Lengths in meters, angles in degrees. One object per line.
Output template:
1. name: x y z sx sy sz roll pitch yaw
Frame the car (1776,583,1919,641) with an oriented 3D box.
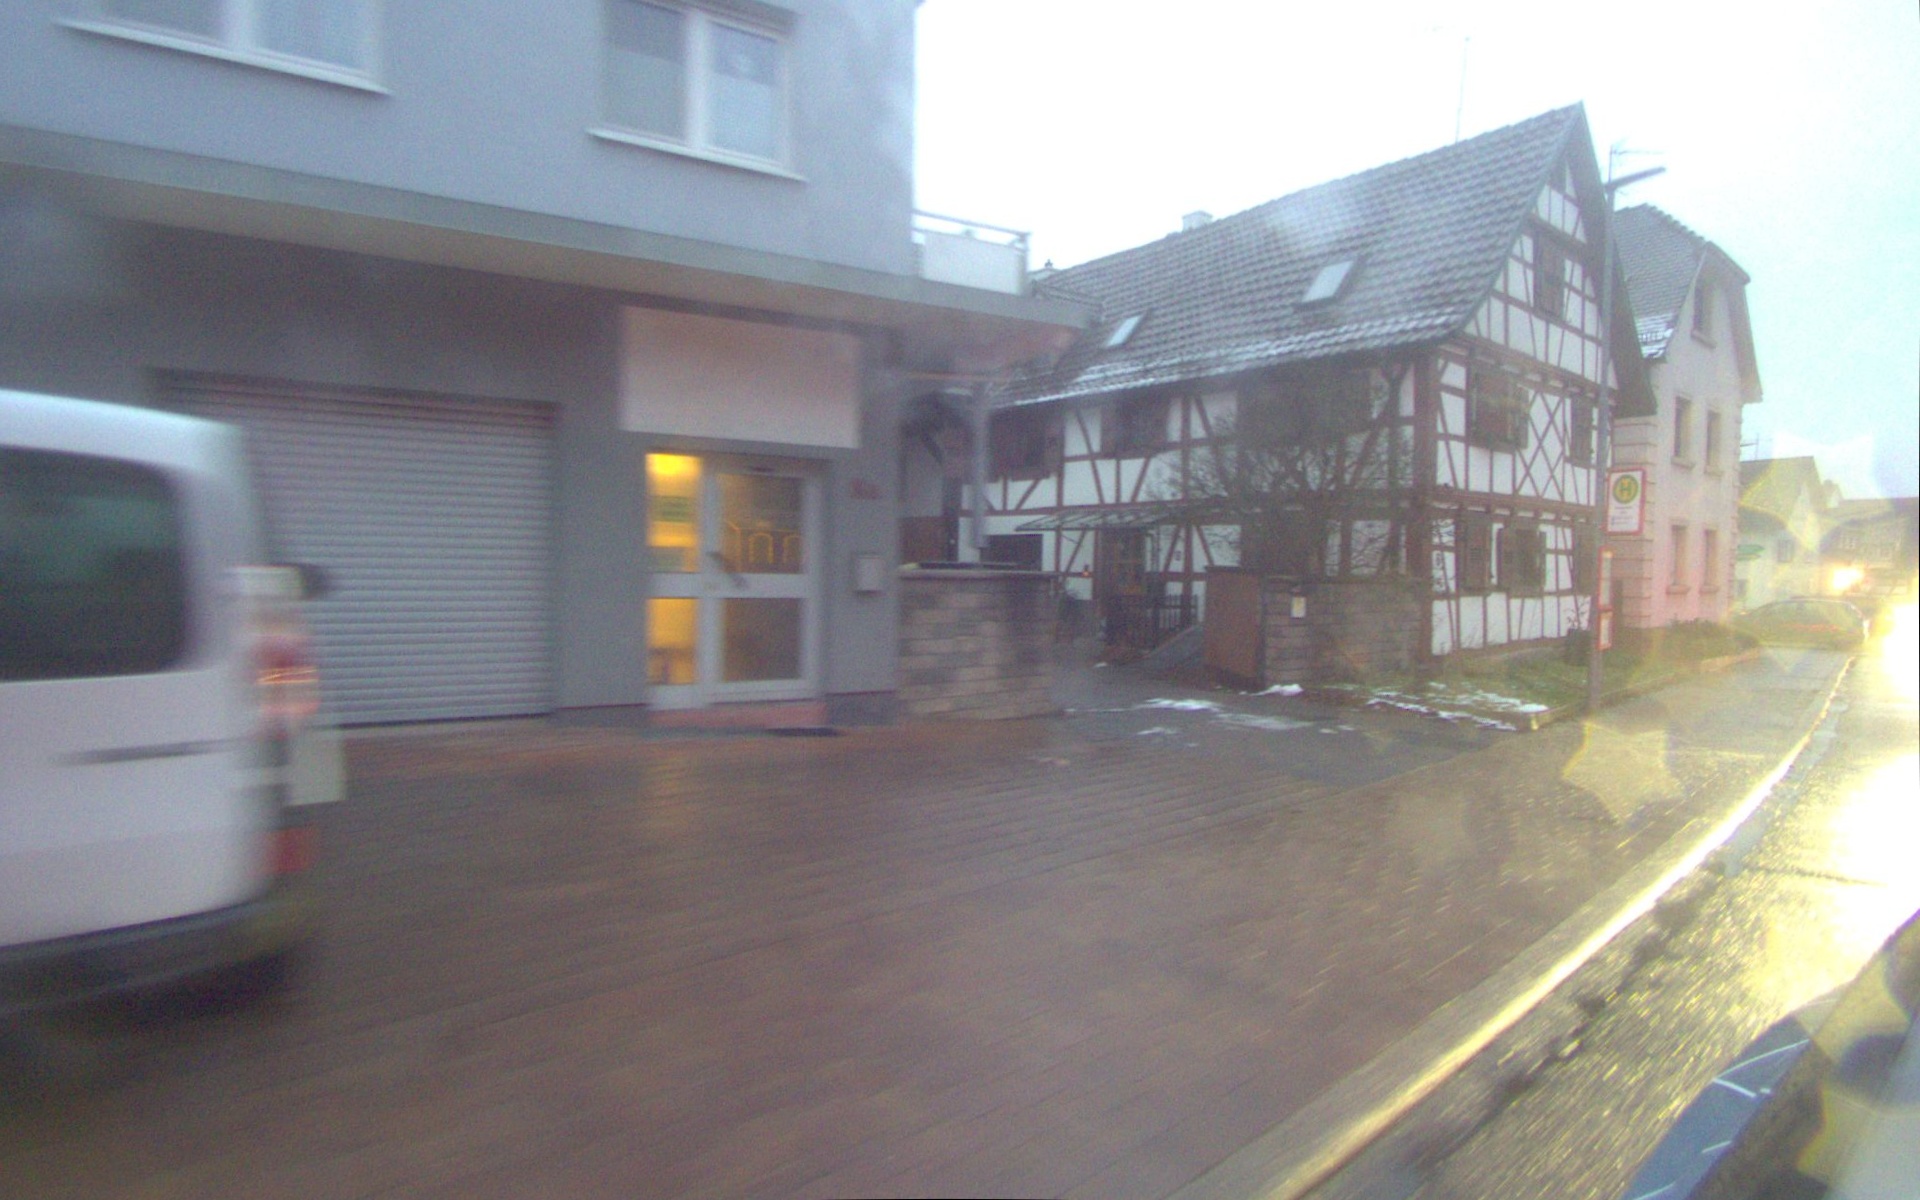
1. car: 32.413 0.407 37.070 3.874 1.900 1.842 3 2 40

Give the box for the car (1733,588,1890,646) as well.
1. car: 28.211 0.519 33.650 3.839 1.647 1.588 4 2 41

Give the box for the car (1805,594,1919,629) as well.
1. car: 40.794 0.479 45.701 1.526 1.384 3.881 1 2 -45

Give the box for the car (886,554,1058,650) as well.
1. car: 0.161 -0.053 19.834 1.589 1.561 3.426 -4 6 -38

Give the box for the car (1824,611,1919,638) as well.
1. car: 45.230 1.194 49.906 1.526 1.141 3.881 1 2 -45

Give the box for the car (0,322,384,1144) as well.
1. car: -3.495 0.179 3.811 1.829 1.865 4.056 0 4 -37
